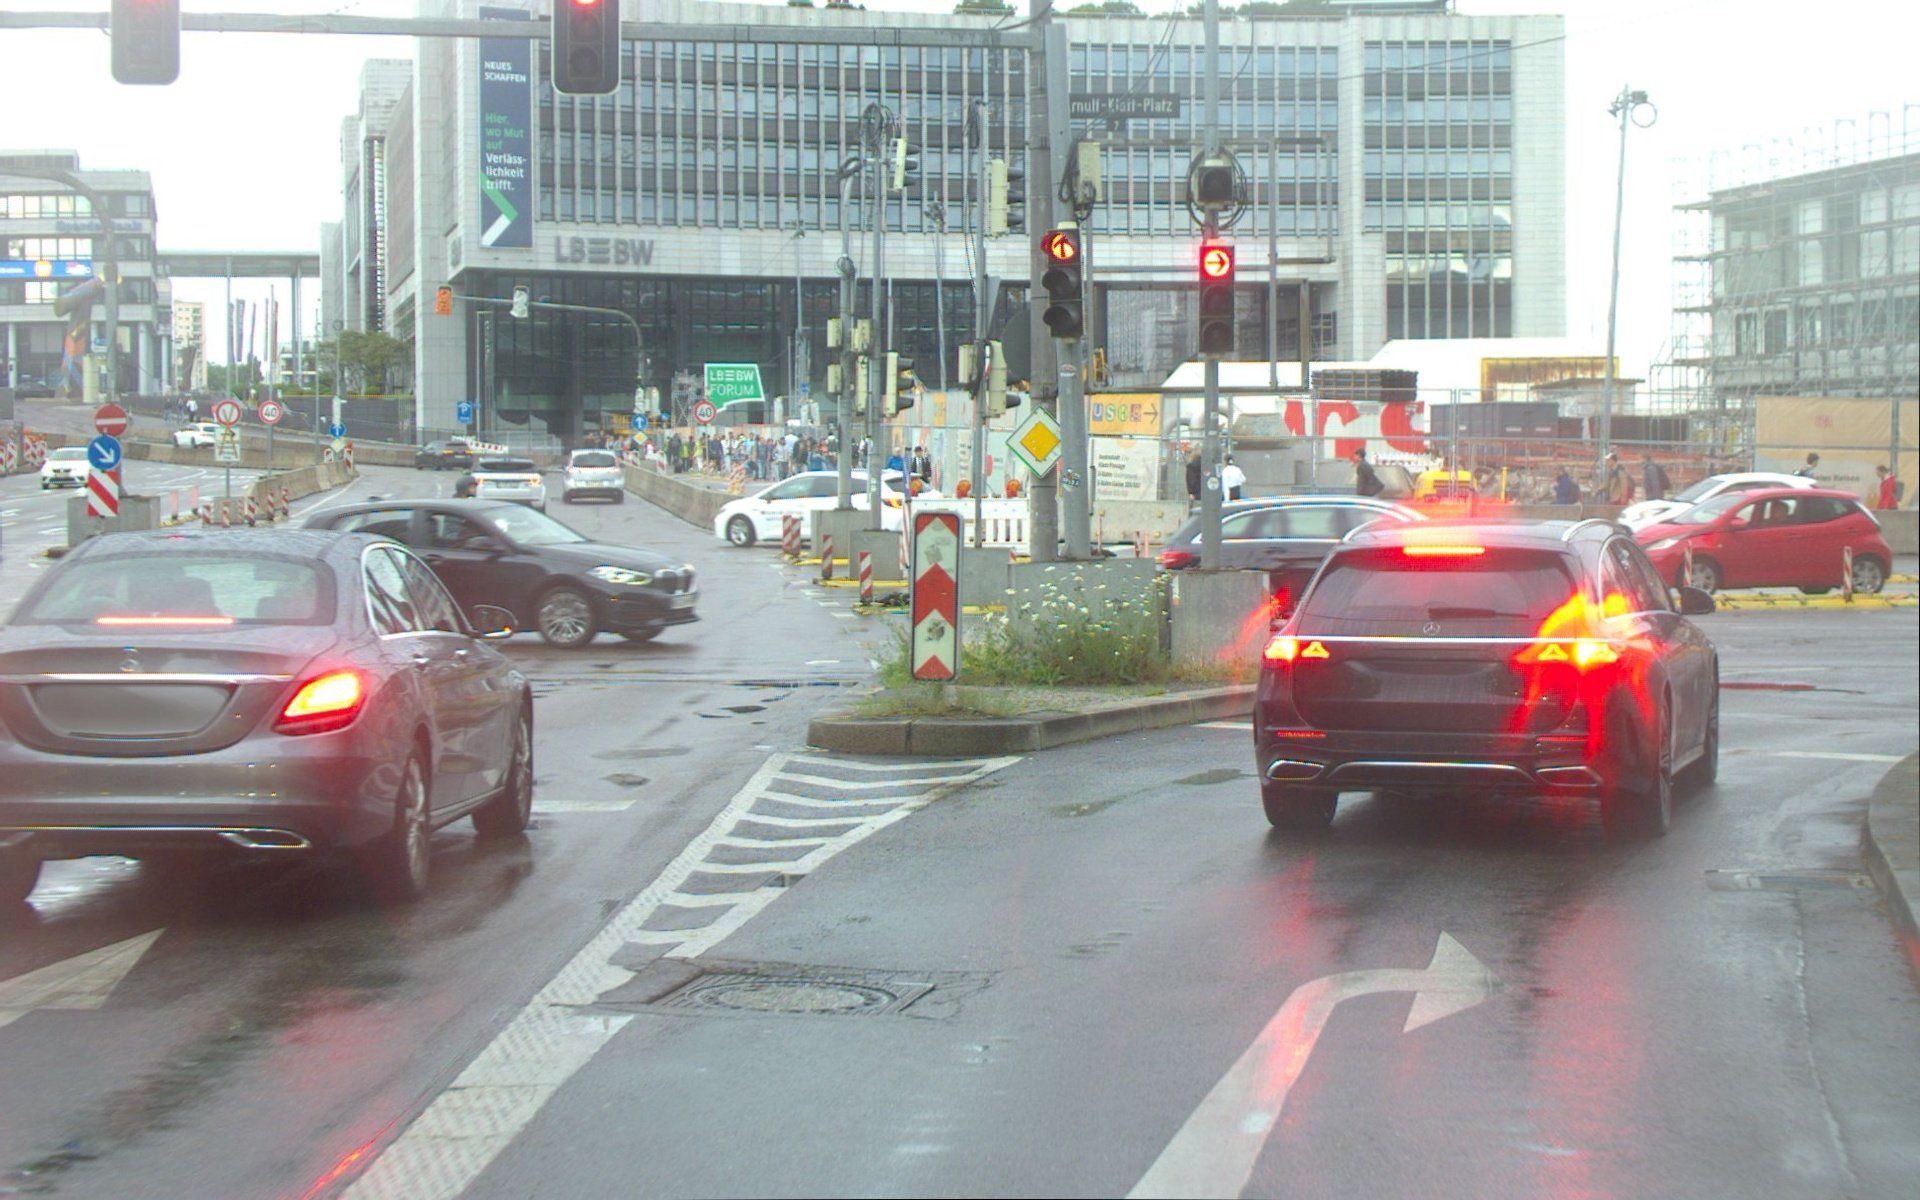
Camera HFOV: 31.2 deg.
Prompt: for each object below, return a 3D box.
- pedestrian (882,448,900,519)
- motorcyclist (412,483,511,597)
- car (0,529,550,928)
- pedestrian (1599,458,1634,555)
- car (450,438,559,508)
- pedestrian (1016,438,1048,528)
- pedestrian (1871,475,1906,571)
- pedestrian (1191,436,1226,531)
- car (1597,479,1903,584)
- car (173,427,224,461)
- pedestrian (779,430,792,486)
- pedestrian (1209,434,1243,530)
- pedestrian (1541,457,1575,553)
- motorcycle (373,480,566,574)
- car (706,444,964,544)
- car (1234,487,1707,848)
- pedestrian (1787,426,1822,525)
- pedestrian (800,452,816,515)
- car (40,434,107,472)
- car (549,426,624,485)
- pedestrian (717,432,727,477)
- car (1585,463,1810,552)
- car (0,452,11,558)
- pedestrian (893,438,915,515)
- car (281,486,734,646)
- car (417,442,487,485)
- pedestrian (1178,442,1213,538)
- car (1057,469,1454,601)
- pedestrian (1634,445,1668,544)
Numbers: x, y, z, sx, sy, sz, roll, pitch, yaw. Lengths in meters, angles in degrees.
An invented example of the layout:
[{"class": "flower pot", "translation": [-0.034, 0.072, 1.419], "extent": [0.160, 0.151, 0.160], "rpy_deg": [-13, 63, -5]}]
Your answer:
[{"class": "pedestrian", "translation": [-1.856, -3.126, 92.586], "extent": [0.361, 1.891, 0.577], "rpy_deg": [1, 1, -14]}, {"class": "motorcyclist", "translation": [-6.014, -0.721, 41.492], "extent": [0.945, 1.353, 0.849], "rpy_deg": [1, 1, 11]}, {"class": "car", "translation": [-2.925, 0.421, 14.446], "extent": [1.783, 1.397, 4.486], "rpy_deg": [1, 1, 1]}, {"class": "pedestrian", "translation": [12.963, -1.844, 67.888], "extent": [0.574, 1.891, 0.362], "rpy_deg": [1, 1, 0]}, {"class": "car", "translation": [-11.243, -3.106, 84.697], "extent": [1.993, 1.634, 4.001], "rpy_deg": [0, 1, -17]}, {"class": "pedestrian", "translation": [1.504, -2.454, 72.167], "extent": [0.361, 1.891, 0.576], "rpy_deg": [0, 1, -39]}, {"class": "pedestrian", "translation": [18.428, -1.527, 68.209], "extent": [0.574, 1.891, 0.362], "rpy_deg": [1, 1, 3]}, {"class": "pedestrian", "translation": [4.965, -2.327, 68.619], "extent": [0.361, 1.891, 0.576], "rpy_deg": [-2, 1, -39]}, {"class": "car", "translation": [10.364, -0.894, 45.185], "extent": [3.533, 1.300, 1.666], "rpy_deg": [1, 1, -11]}, {"class": "car", "translation": [-43.634, -8.910, 196.833], "extent": [1.993, 1.809, 4.001], "rpy_deg": [0, 1, -26]}, {"class": "pedestrian", "translation": [-5.956, -4.840, 117.365], "extent": [0.361, 1.891, 0.576], "rpy_deg": [1, 1, -10]}, {"class": "pedestrian", "translation": [5.324, -2.360, 68.862], "extent": [0.361, 1.891, 0.576], "rpy_deg": [0, 1, -41]}, {"class": "pedestrian", "translation": [11.873, -1.877, 68.236], "extent": [0.575, 1.891, 0.362], "rpy_deg": [1, 1, 21]}, {"class": "motorcycle", "translation": [-5.909, -0.880, 41.466], "extent": [2.137, 1.104, 0.851], "rpy_deg": [1, 1, 10]}, {"class": "car", "translation": [-2.314, -1.939, 63.144], "extent": [4.413, 1.760, 1.996], "rpy_deg": [1, 1, 35]}, {"class": "car", "translation": [2.635, 0.262, 16.967], "extent": [1.892, 1.538, 3.991], "rpy_deg": [1, 1, 14]}, {"class": "pedestrian", "translation": [16.232, -2.393, 66.074], "extent": [0.574, 1.891, 0.362], "rpy_deg": [1, 1, 3]}, {"class": "pedestrian", "translation": [-4.592, -3.508, 103.862], "extent": [0.361, 1.891, 0.576], "rpy_deg": [1, 1, -10]}, {"class": "car", "translation": [-32.601, -5.397, 126.466], "extent": [1.767, 1.256, 4.001], "rpy_deg": [1, 1, -5]}, {"class": "car", "translation": [-11.292, -4.391, 103.863], "extent": [1.727, 1.634, 3.436], "rpy_deg": [1, 4, -15]}, {"class": "pedestrian", "translation": [-10.167, -6.231, 147.000], "extent": [0.361, 1.891, 0.576], "rpy_deg": [1, 1, -10]}, {"class": "car", "translation": [12.591, -1.575, 58.870], "extent": [3.548, 1.468, 1.786], "rpy_deg": [1, 1, 5]}, {"class": "car", "translation": [-17.116, -1.608, 57.411], "extent": [1.993, 1.791, 5.104], "rpy_deg": [1, 1, -10]}, {"class": "pedestrian", "translation": [-1.381, -3.033, 84.574], "extent": [0.361, 1.891, 0.577], "rpy_deg": [0, 1, -19]}, {"class": "car", "translation": [-4.521, -0.364, 34.258], "extent": [4.106, 1.501, 1.997], "rpy_deg": [1, 1, 30]}, {"class": "car", "translation": [-24.718, -6.626, 167.071], "extent": [1.993, 2.007, 4.000], "rpy_deg": [0, 1, -30]}, {"class": "pedestrian", "translation": [4.679, -2.185, 68.297], "extent": [0.361, 1.891, 0.576], "rpy_deg": [0, 1, -41]}, {"class": "car", "translation": [3.133, -0.702, 37.177], "extent": [4.099, 1.340, 2.000], "rpy_deg": [1, 1, 0]}, {"class": "pedestrian", "translation": [13.407, -2.046, 66.717], "extent": [0.574, 1.891, 0.362], "rpy_deg": [1, 1, 0]}]
